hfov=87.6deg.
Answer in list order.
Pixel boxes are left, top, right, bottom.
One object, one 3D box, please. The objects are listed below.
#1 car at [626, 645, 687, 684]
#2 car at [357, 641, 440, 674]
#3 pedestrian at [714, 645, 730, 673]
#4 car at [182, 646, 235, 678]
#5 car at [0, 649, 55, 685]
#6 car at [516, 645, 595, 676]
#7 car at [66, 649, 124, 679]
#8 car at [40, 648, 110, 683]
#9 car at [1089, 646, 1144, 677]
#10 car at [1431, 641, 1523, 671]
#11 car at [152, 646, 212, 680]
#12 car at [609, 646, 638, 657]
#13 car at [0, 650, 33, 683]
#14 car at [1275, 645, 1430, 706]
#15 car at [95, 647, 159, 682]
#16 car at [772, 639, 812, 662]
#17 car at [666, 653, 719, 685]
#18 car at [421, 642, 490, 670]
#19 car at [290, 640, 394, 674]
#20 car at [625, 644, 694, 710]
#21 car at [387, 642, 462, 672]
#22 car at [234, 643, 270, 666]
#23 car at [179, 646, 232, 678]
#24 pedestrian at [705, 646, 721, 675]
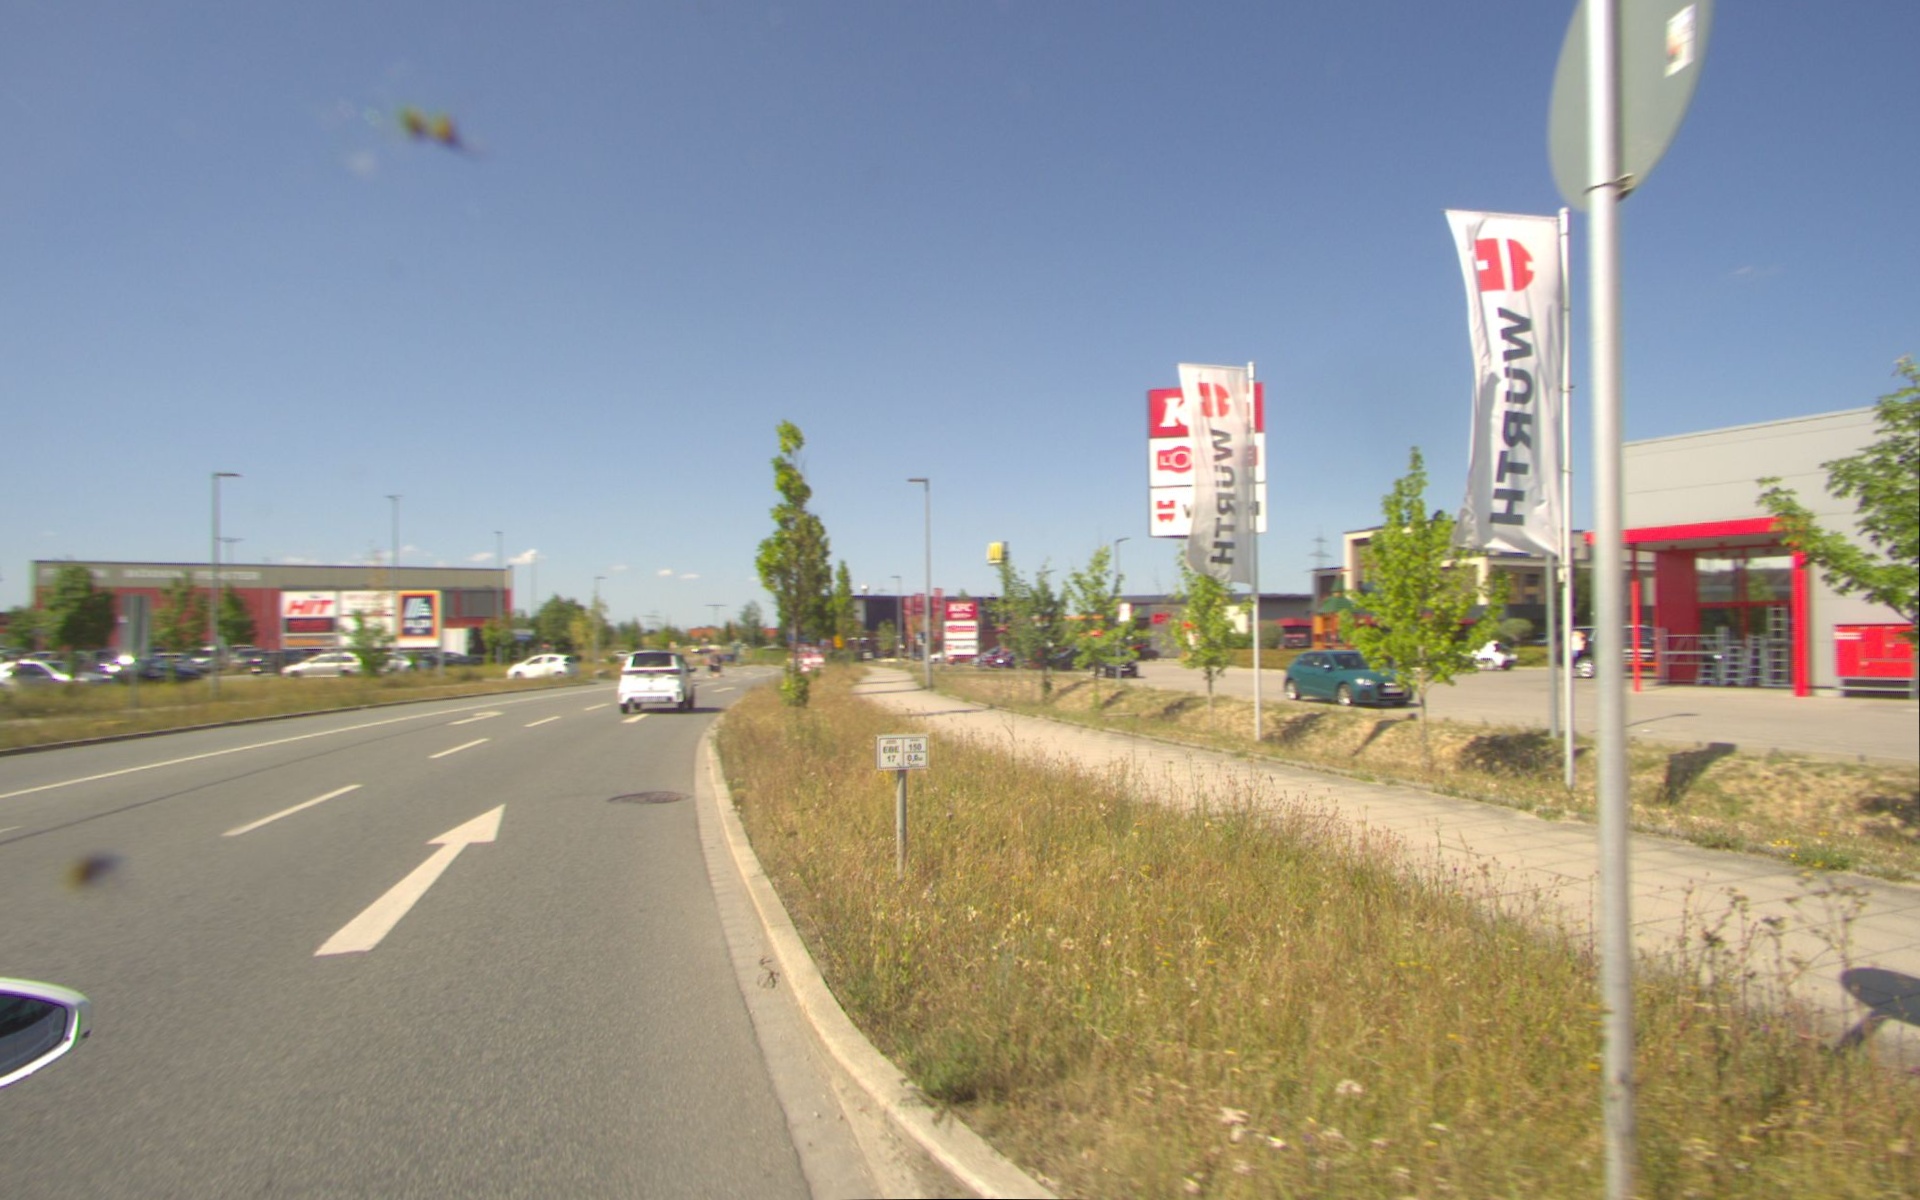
[{"bbox_3d":[-13.207,2.769,43.781,1.708,1.571,4.571,-1,-2,-6],"label":"car"},{"bbox_3d":[-37.523,3.851,67.009,4.402,2.063,1.999,-1,-2,-13],"label":"car"},{"bbox_3d":[-14.465,3.556,60.851,0.655,1.685,0.710,-1,-1,21],"label":"pedestrian"},{"bbox_3d":[-51.525,4.211,68.712,1.968,2.063,4.471,0,-2,-24],"label":"car"},{"bbox_3d":[-56.338,3.961,59.918,1.968,2.063,4.471,0,-2,-24],"label":"car"},{"bbox_3d":[-22.451,3.353,55.666,3.710,1.571,1.742,-1,-2,-5],"label":"car"},{"bbox_3d":[-62.503,4.589,72.457,1.968,2.063,4.471,0,-2,-24],"label":"car"},{"bbox_3d":[-54.166,3.974,61.383,1.968,2.063,4.471,0,-2,-24],"label":"car"},{"bbox_3d":[7.865,3.056,50.628,1.842,1.483,4.367,0,-3,-3],"label":"car"},{"bbox_3d":[26.703,2.879,51.852,1.779,1.493,3.893,1,-3,-32],"label":"car"},{"bbox_3d":[-49.027,3.939,63.197,1.968,2.063,4.471,0,-2,-24],"label":"car"},{"bbox_3d":[-53.903,8.257,160.401,1.977,1.750,3.970,-2,-2,40],"label":"car"},{"bbox_3d":[-61.102,4.207,63.592,1.968,2.063,4.471,0,-2,-24],"label":"car"},{"bbox_3d":[10.230,1.939,26.482,1.812,1.467,4.226,0,-3,-11],"label":"car"},{"bbox_3d":[-51.578,3.948,62.094,1.968,2.063,4.471,0,-2,-24],"label":"car"},{"bbox_3d":[-11.765,3.526,70.493,1.961,1.570,3.845,0,-2,3],"label":"car"},{"bbox_3d":[-14.183,3.632,53.252,1.707,1.571,3.785,-1,-2,1],"label":"car"},{"bbox_3d":[-38.987,4.299,77.512,4.402,2.063,1.999,-1,-2,-13],"label":"car"},{"bbox_3d":[-33.849,3.129,54.956,4.399,1.737,2.000,-1,-2,-9],"label":"car"},{"bbox_3d":[-7.494,1.900,25.166,1.452,1.508,2.999,3,-3,-13],"label":"car"},{"bbox_3d":[-38.414,4.065,71.939,4.402,2.063,1.999,-1,-2,-13],"label":"car"},{"bbox_3d":[-67.232,5.182,95.115,1.968,2.063,4.471,0,-2,-24],"label":"car"},{"bbox_3d":[-51.635,4.210,68.644,1.968,2.063,4.471,0,-2,-24],"label":"car"},{"bbox_3d":[-14.828,3.628,60.086,0.655,1.685,0.710,-1,-1,21],"label":"pedestrian"}]
